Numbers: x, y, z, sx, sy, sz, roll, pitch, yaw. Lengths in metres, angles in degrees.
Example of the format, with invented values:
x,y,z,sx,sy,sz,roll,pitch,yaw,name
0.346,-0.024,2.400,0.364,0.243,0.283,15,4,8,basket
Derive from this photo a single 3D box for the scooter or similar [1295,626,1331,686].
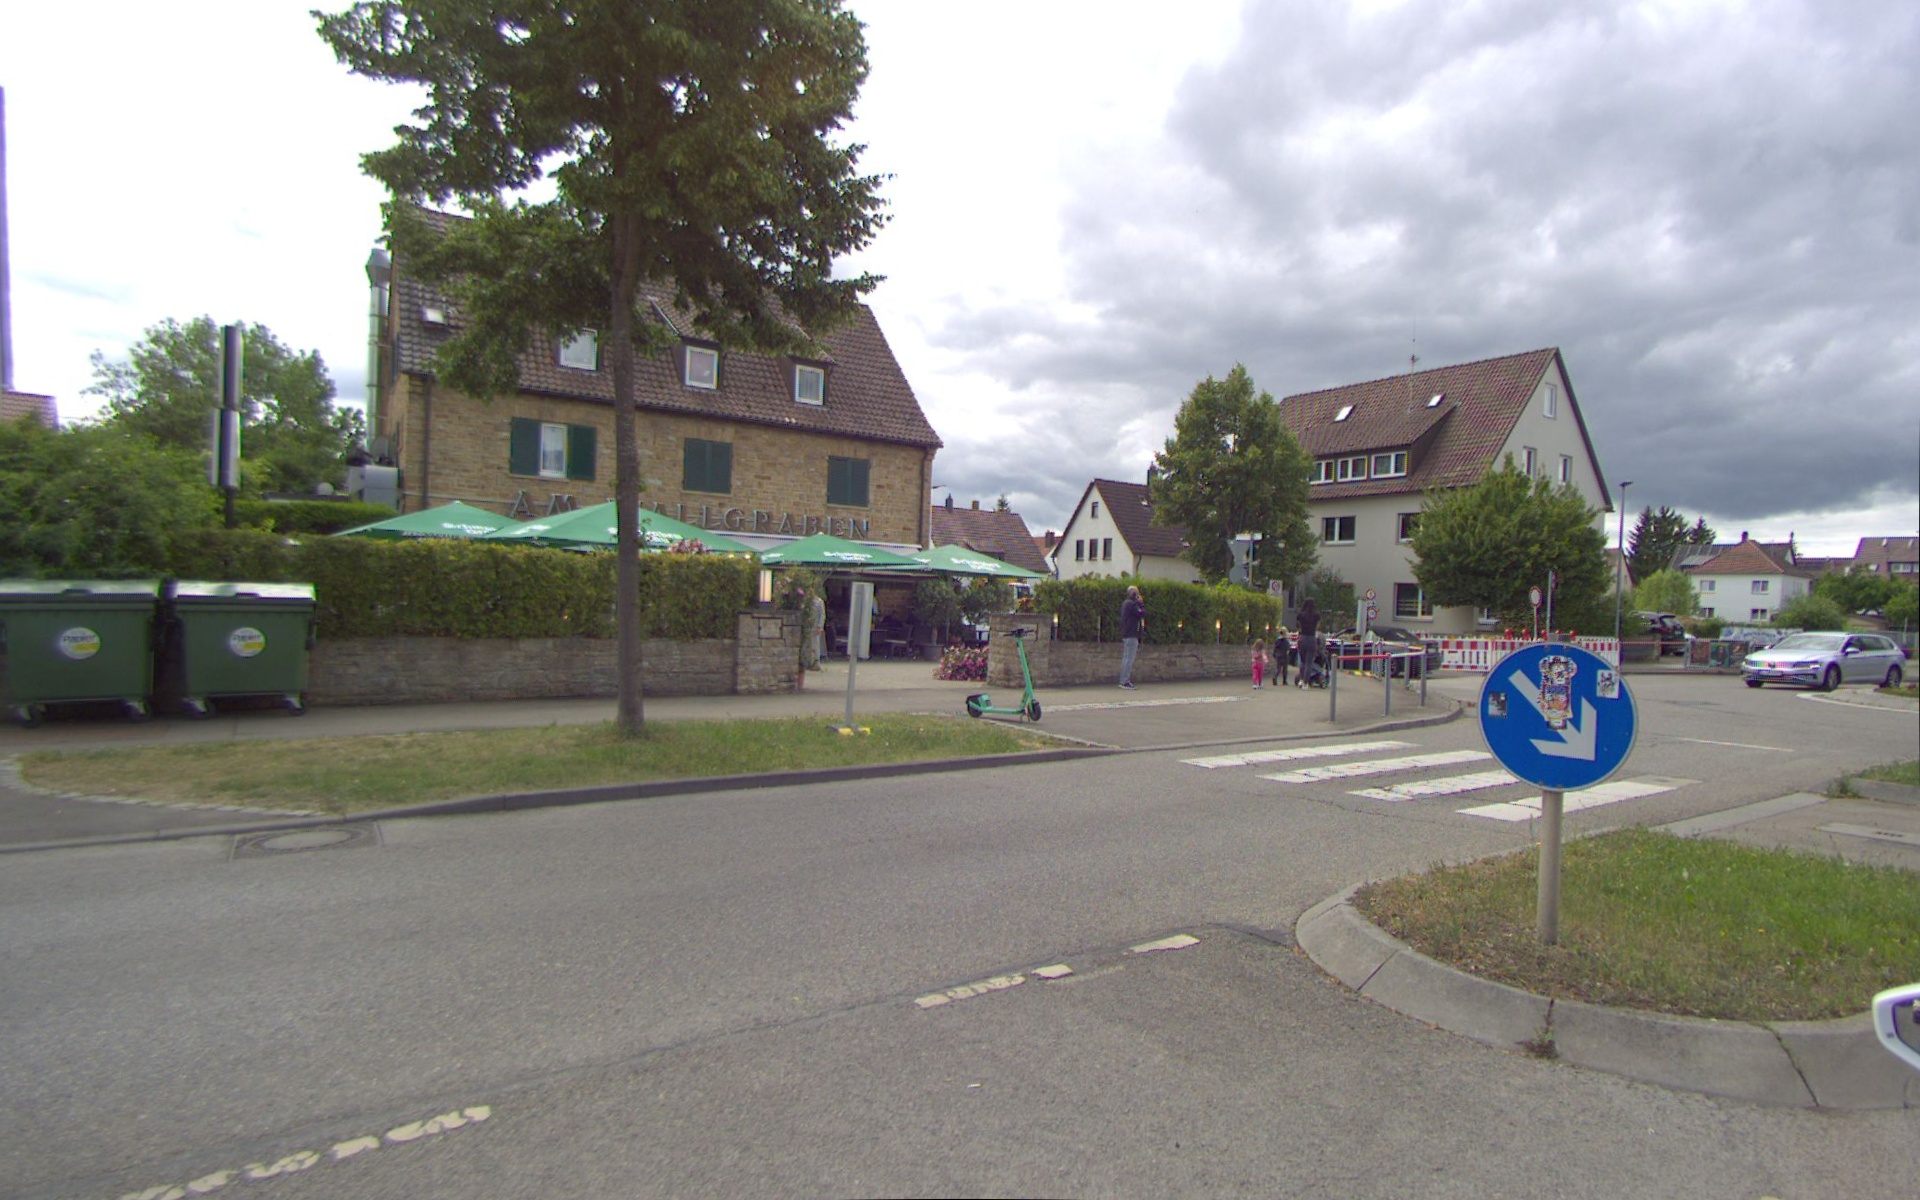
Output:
x,y,z,sx,sy,sz,roll,pitch,yaw,name
6.994,1.092,19.885,0.400,1.110,0.967,4,2,32,scooter or similar

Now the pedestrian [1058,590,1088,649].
x,y,z,sx,sy,sz,roll,pitch,yaw,name
3.059,0.520,27.118,0.639,1.560,0.509,1,0,25,pedestrian

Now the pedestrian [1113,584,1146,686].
x,y,z,sx,sy,sz,roll,pitch,yaw,name
3.062,0.624,18.182,0.530,1.808,0.563,2,0,7,pedestrian

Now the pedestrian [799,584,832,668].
x,y,z,sx,sy,sz,roll,pitch,yaw,name
-2.908,0.514,20.250,0.605,1.665,0.454,1,0,-5,pedestrian

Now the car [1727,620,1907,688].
x,y,z,sx,sy,sz,roll,pitch,yaw,name
21.897,1.371,25.667,4.200,1.581,1.864,2,0,-24,car

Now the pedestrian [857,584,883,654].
x,y,z,sx,sy,sz,roll,pitch,yaw,name
-2.386,0.499,26.555,0.563,1.808,0.642,1,0,-14,pedestrian

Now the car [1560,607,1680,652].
x,y,z,sx,sy,sz,roll,pitch,yaw,name
25.638,1.126,39.112,1.580,1.632,3.573,1,0,-28,car

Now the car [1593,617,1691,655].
x,y,z,sx,sy,sz,roll,pitch,yaw,name
27.764,1.446,40.953,1.323,1.400,3.028,1,0,-28,car

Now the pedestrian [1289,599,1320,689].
x,y,z,sx,sy,sz,roll,pitch,yaw,name
6.611,0.837,19.281,0.474,1.692,0.515,2,0,24,pedestrian

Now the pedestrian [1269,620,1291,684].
x,y,z,sx,sy,sz,roll,pitch,yaw,name
6.386,1.028,20.037,0.336,1.261,0.354,1,0,25,pedestrian

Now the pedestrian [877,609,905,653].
x,y,z,sx,sy,sz,roll,pitch,yaw,name
-1.852,0.830,26.969,0.633,1.162,0.571,1,0,-13,pedestrian

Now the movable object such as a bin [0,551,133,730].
x,y,z,sx,sy,sz,roll,pitch,yaw,name
-9.127,0.379,10.203,0.988,1.673,1.197,2,2,-35,movable object such as a bin

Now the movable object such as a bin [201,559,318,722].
x,y,z,sx,sy,sz,roll,pitch,yaw,name
-7.833,0.421,11.268,0.988,1.673,1.197,2,2,-35,movable object such as a bin

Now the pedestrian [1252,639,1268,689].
x,y,z,sx,sy,sz,roll,pitch,yaw,name
5.672,1.206,18.981,0.234,0.906,0.259,2,0,24,pedestrian

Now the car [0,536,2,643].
x,y,z,sx,sy,sz,roll,pitch,yaw,name
-12.262,0.129,10.829,1.978,1.917,3.965,2,0,-32,car

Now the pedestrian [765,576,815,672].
x,y,z,sx,sy,sz,roll,pitch,yaw,name
-3.298,0.462,19.443,0.742,1.808,0.566,1,0,-37,pedestrian

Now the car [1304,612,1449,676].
x,y,z,sx,sy,sz,roll,pitch,yaw,name
11.965,1.211,29.042,1.557,1.656,3.587,1,0,-34,car

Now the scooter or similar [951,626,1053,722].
x,y,z,sx,sy,sz,roll,pitch,yaw,name
0.541,0.941,13.042,1.264,1.154,0.347,1,0,27,scooter or similar
